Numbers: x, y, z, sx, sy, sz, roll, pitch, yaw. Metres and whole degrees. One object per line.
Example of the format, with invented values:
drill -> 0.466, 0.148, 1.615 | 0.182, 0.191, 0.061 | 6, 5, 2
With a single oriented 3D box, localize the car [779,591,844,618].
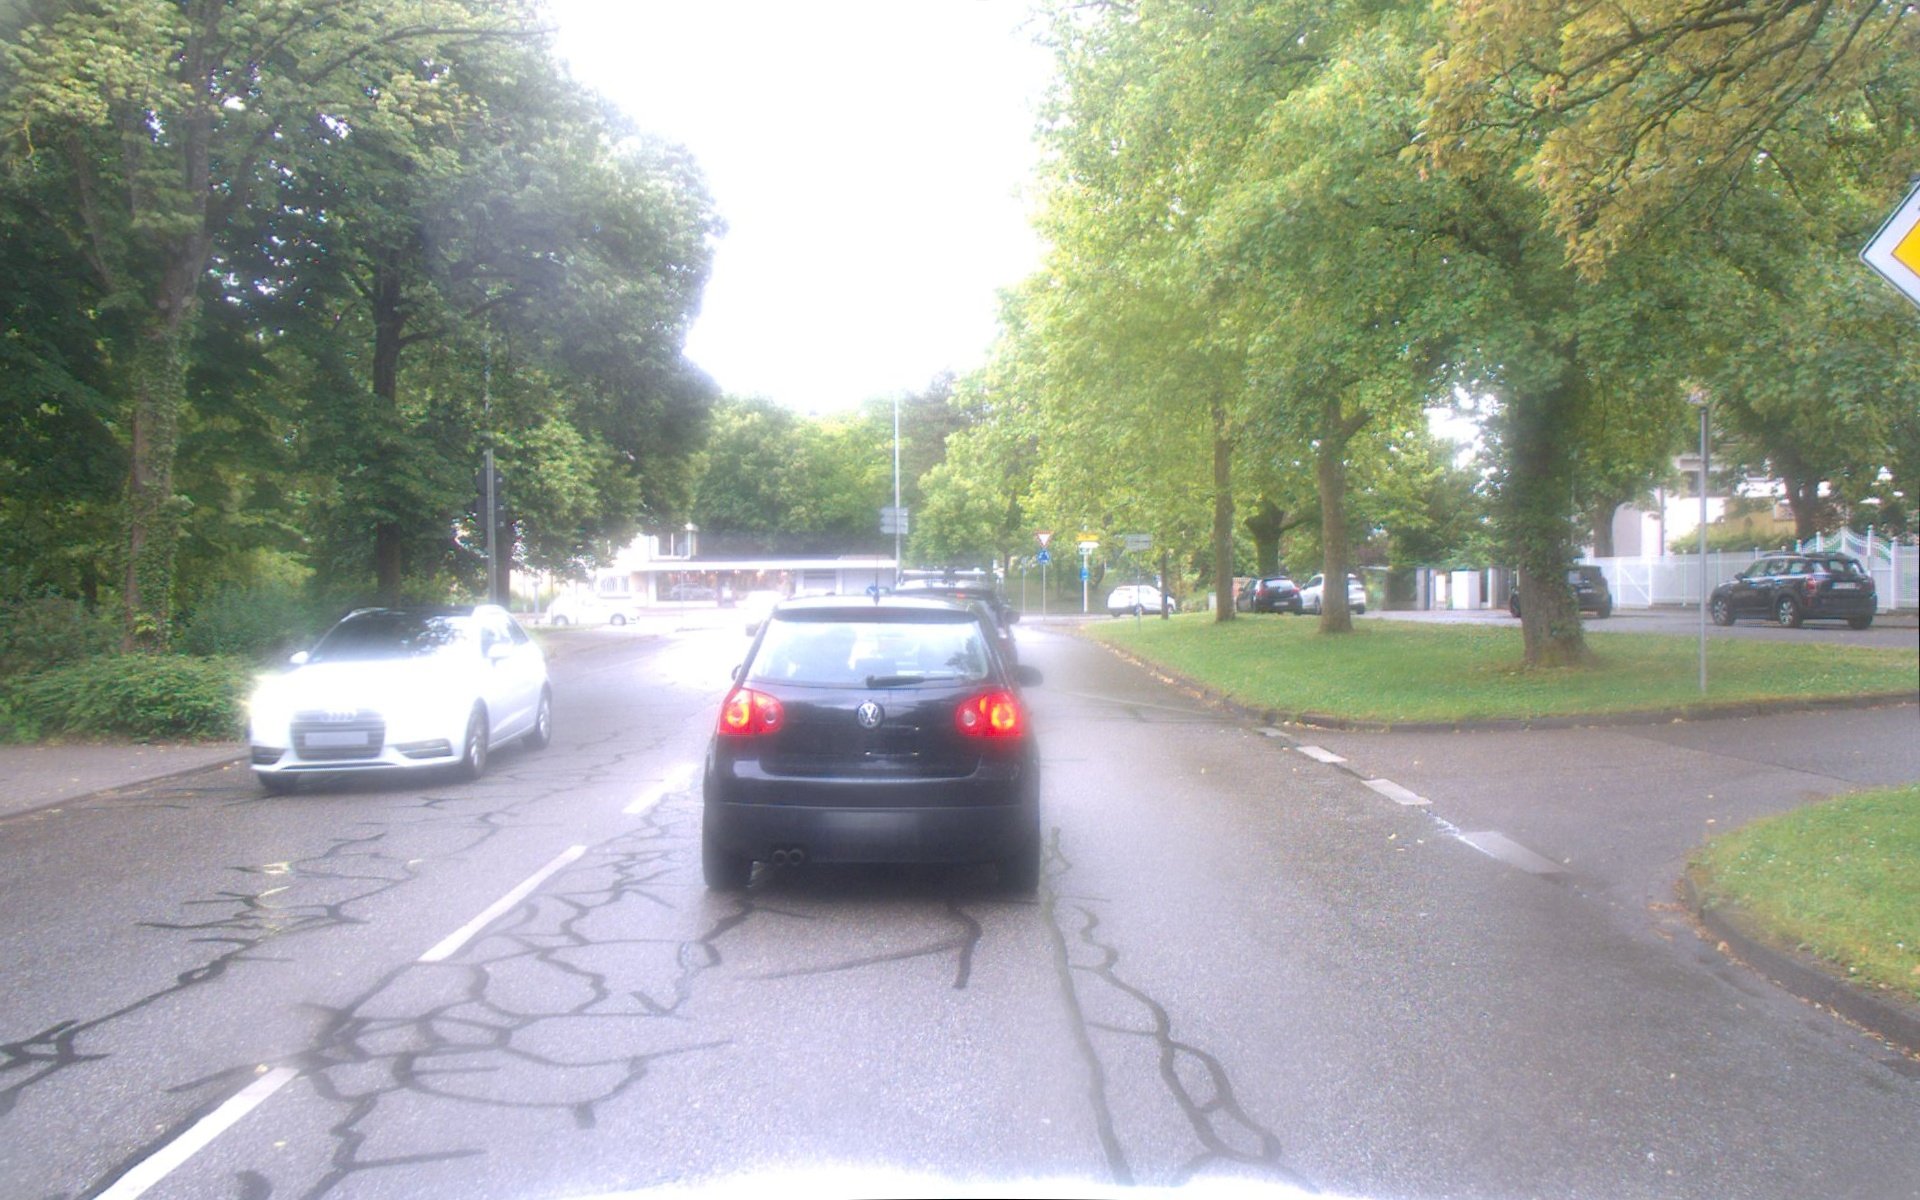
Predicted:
car -> -9.018, 0.261, 100.517 | 3.590, 1.539, 1.710 | -1, 0, 27

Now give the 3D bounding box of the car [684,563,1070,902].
car -> -0.375, 0.618, 9.501 | 1.762, 1.542, 3.753 | 1, 0, 0

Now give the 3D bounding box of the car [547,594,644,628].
car -> -17.210, 0.515, 78.263 | 4.415, 1.444, 1.842 | -2, 0, -11

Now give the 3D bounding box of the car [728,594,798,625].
car -> -9.173, 0.452, 77.192 | 3.056, 1.333, 1.540 | -2, 0, -1

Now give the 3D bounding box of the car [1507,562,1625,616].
car -> 17.598, -0.346, 48.232 | 1.766, 1.436, 4.110 | -2, 1, -3

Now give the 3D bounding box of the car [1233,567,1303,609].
car -> 11.268, -0.446, 60.783 | 1.766, 1.409, 4.000 | -2, 1, 0

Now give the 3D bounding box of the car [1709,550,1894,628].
car -> 18.241, -0.260, 36.060 | 1.766, 1.556, 4.110 | -2, 1, -3

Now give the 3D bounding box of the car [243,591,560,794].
car -> -4.725, 0.687, 14.575 | 1.576, 1.452, 4.006 | -1, 1, -3

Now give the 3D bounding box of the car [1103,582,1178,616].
car -> 9.864, -0.038, 90.368 | 3.967, 1.735, 1.969 | -2, 0, -42

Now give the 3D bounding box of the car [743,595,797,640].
car -> -6.619, 0.591, 57.954 | 1.762, 1.417, 3.974 | -3, 0, -5

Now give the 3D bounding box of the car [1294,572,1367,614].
car -> 13.651, -0.261, 61.124 | 1.766, 1.430, 4.000 | -2, 1, 0

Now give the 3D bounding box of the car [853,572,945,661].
car -> -1.274, 0.347, 36.029 | 1.817, 1.816, 4.000 | -1, 0, 0

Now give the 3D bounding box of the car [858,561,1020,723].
car -> -0.231, 0.467, 20.694 | 1.817, 1.816, 4.000 | -1, 0, 0
